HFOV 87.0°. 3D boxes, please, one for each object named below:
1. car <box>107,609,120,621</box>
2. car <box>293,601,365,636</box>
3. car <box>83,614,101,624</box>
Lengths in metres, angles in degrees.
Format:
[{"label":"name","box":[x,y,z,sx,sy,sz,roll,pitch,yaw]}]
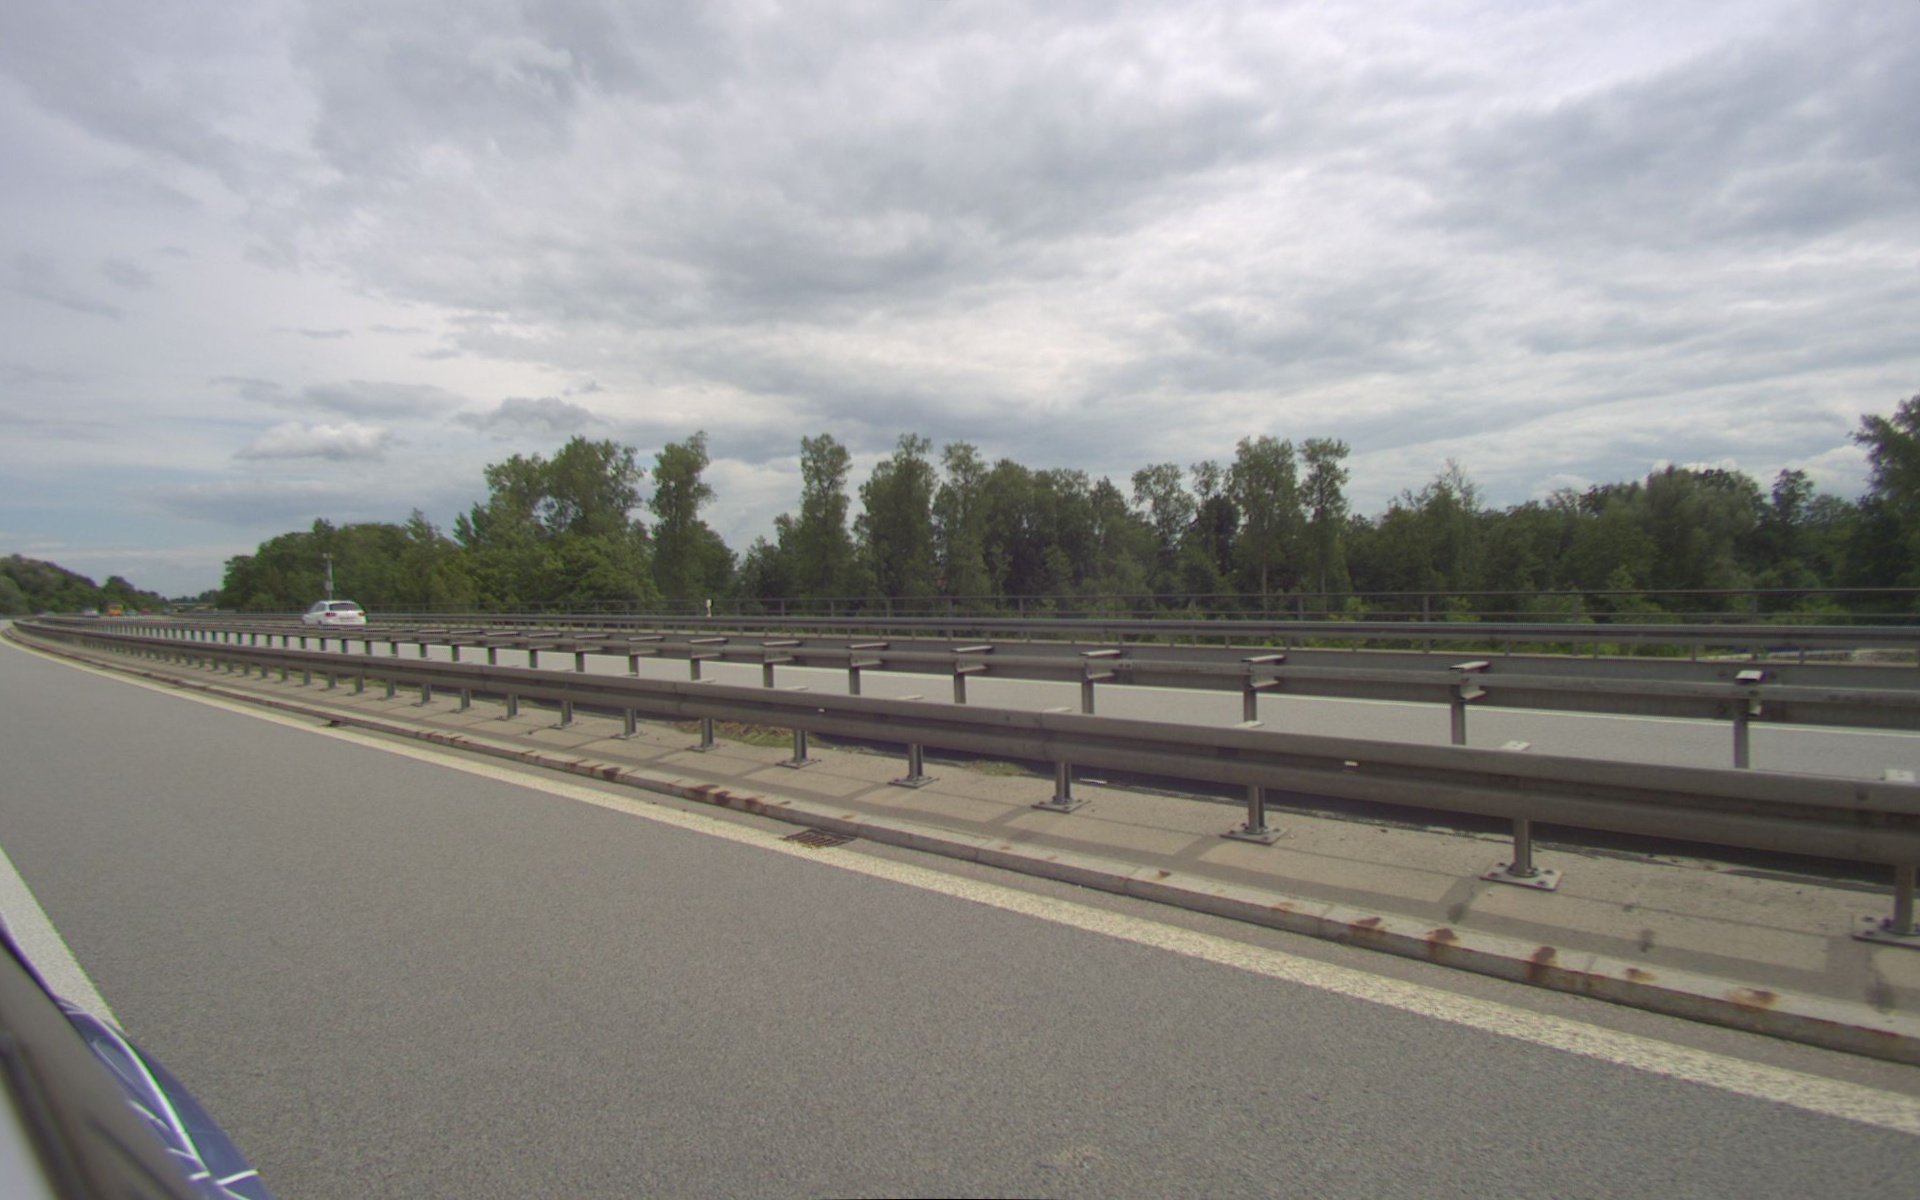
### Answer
[{"label":"car","box":[-169.698,2.971,202.938,1.969,2.310,6.408,-1,0,-40]},{"label":"car","box":[-27.176,0.797,43.541,4.328,1.417,1.515,-1,0,42]},{"label":"car","box":[-128.432,2.821,149.751,1.751,1.397,4.391,-1,0,-44]}]
